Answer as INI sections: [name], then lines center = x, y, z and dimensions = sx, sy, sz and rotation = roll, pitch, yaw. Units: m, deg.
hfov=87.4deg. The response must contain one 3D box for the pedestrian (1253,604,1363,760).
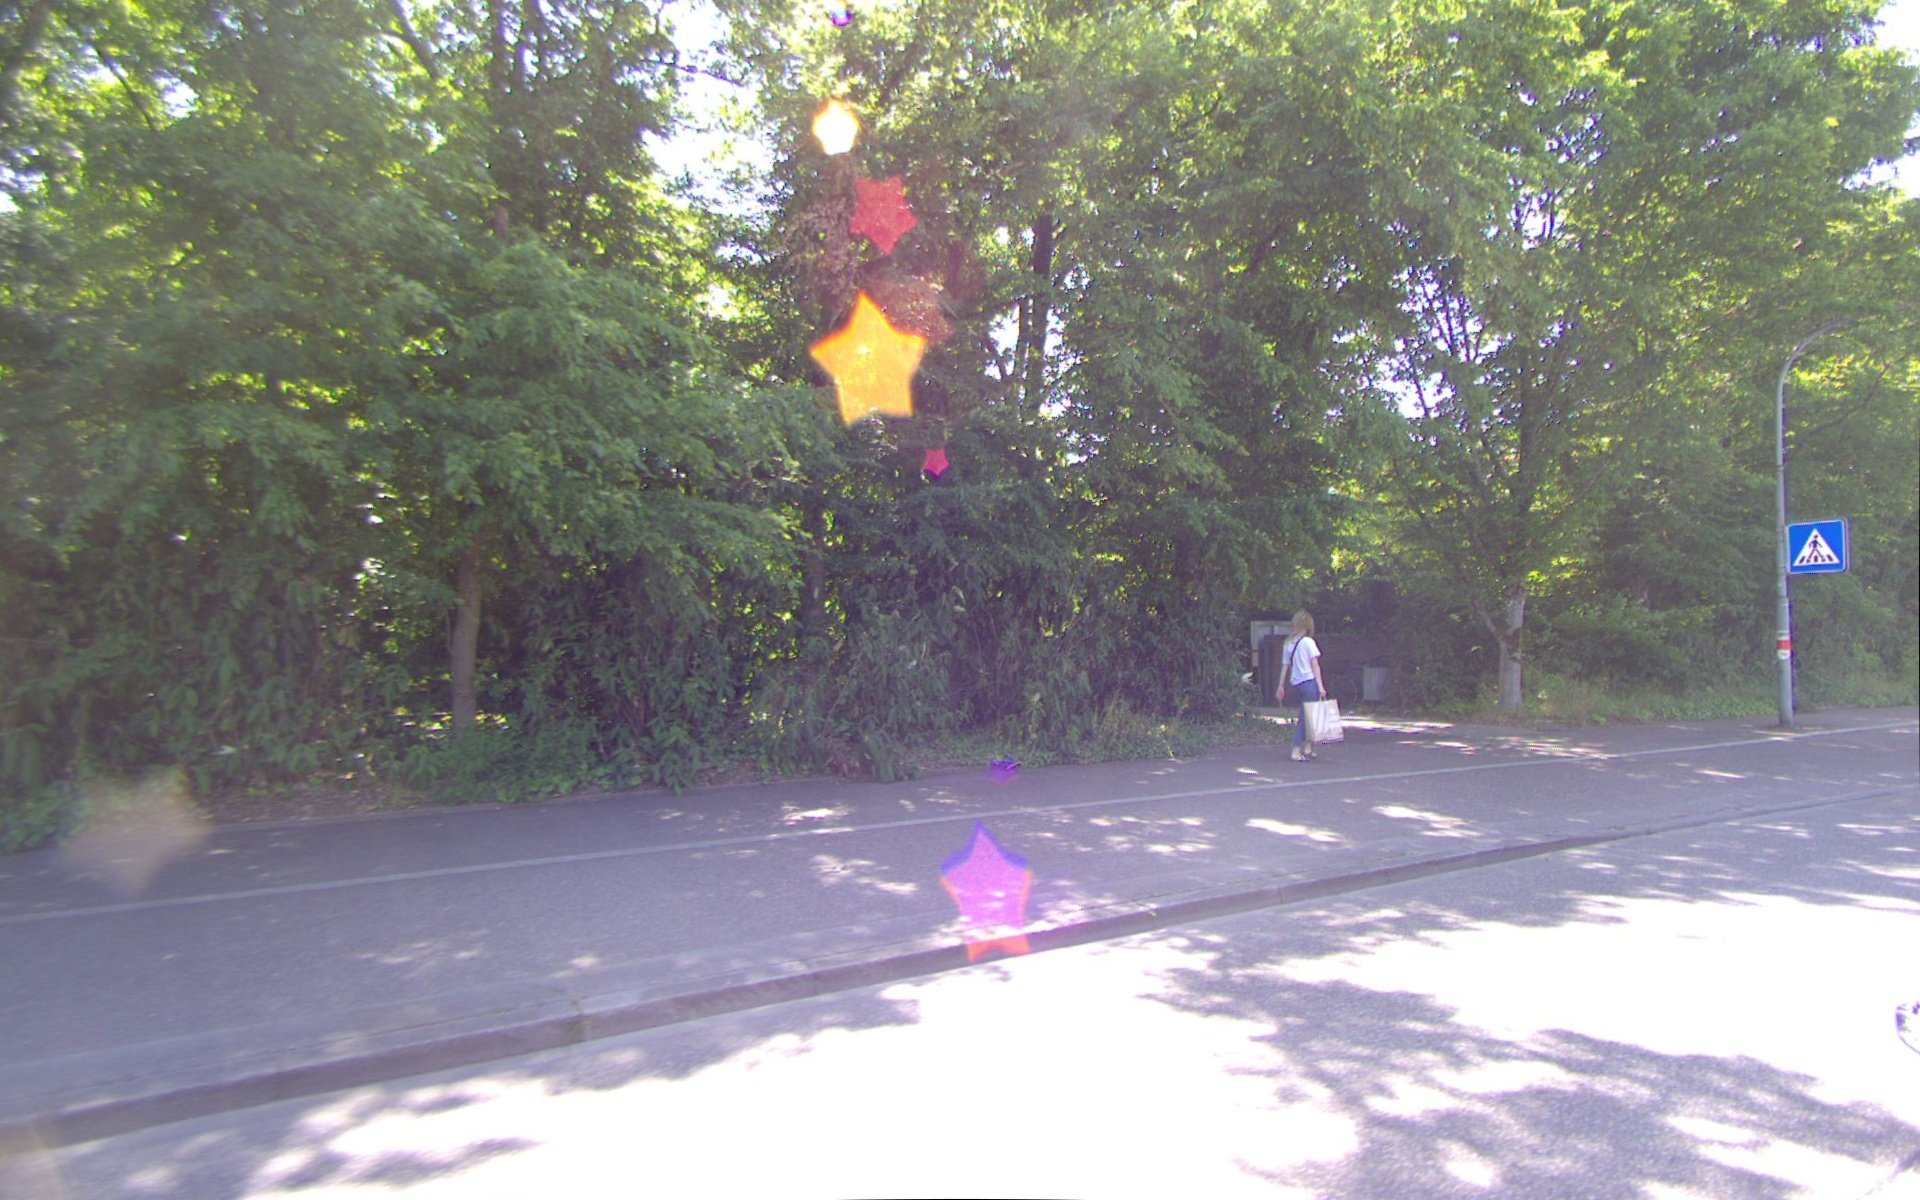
[pedestrian]
center = 3.884, 0.886, 11.227
dimensions = 0.774, 1.644, 0.823
rotation = 1, 0, -32
